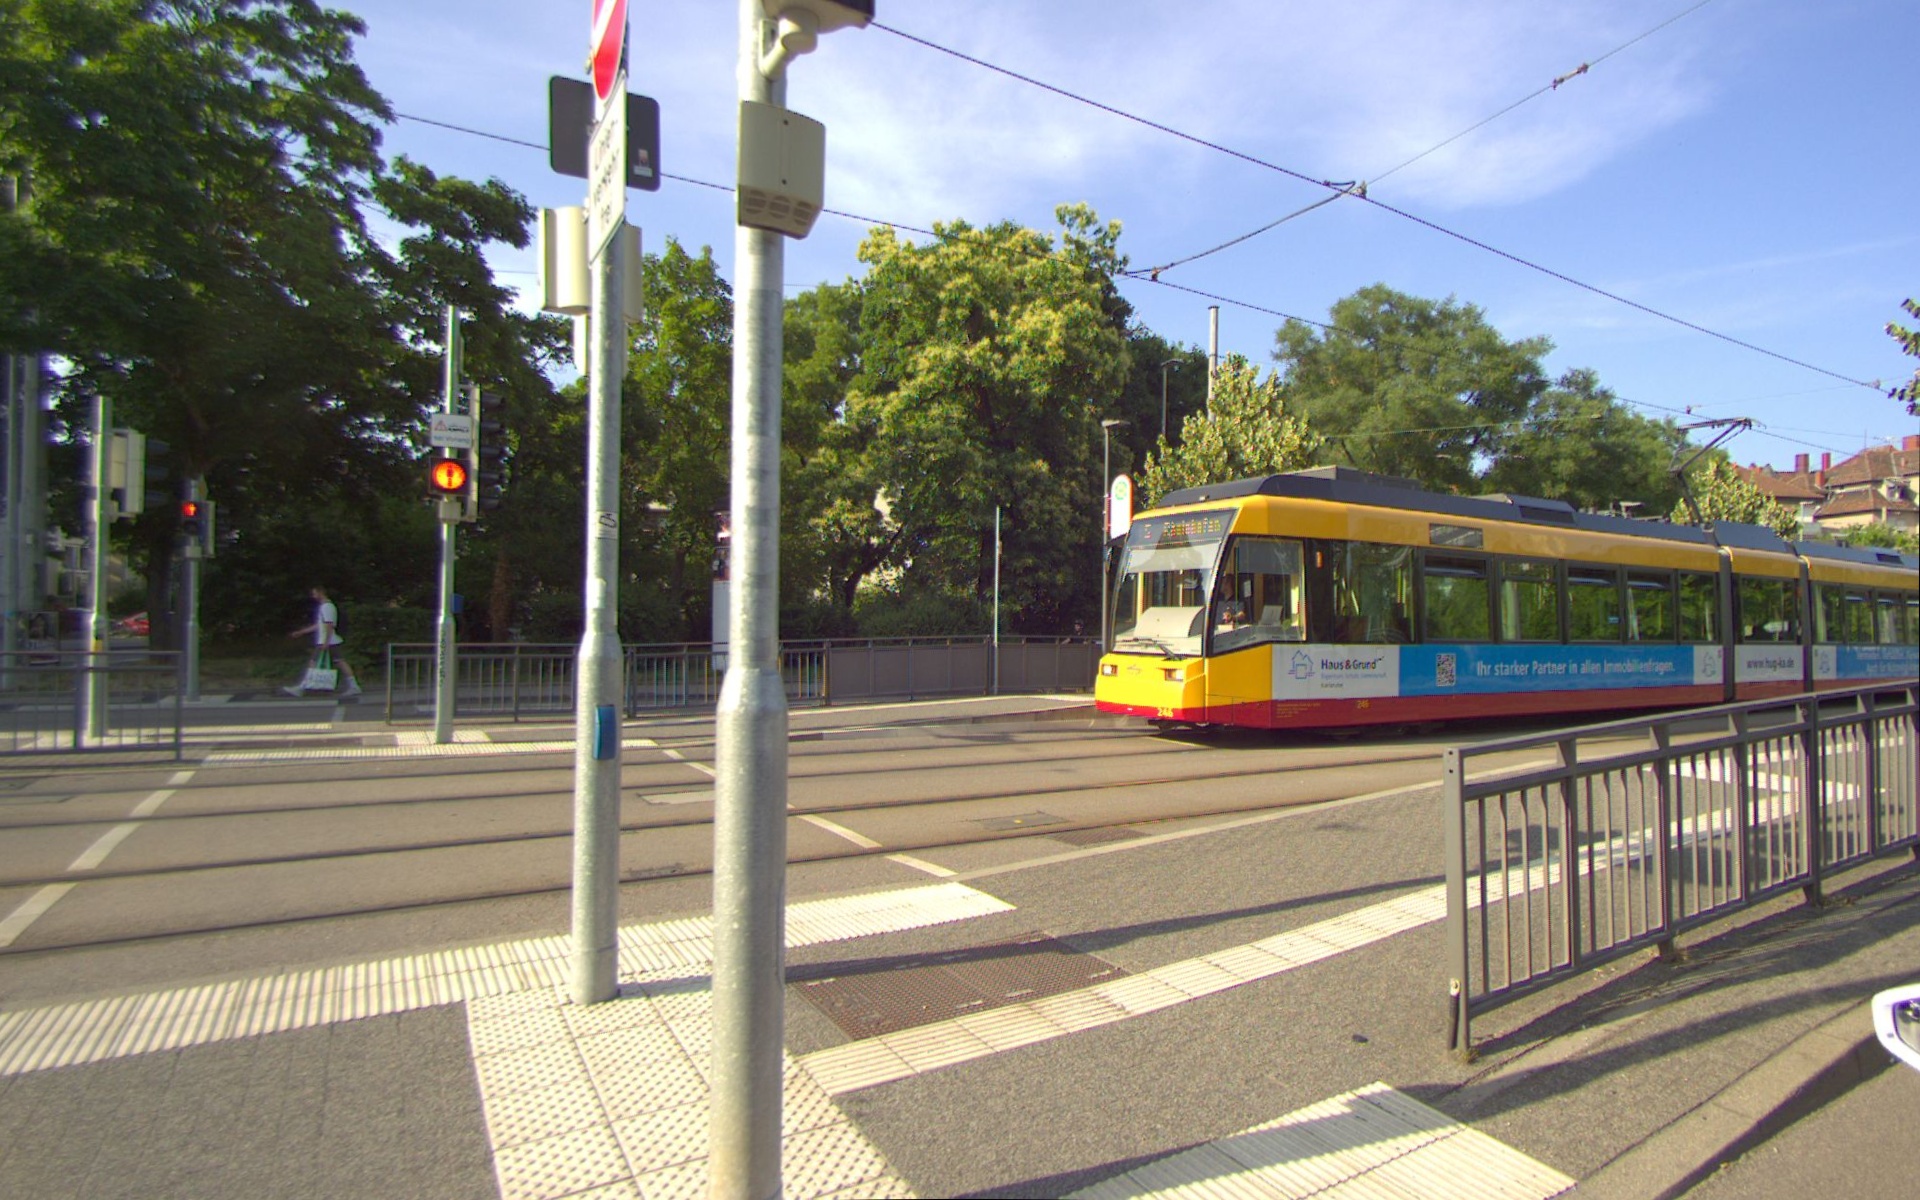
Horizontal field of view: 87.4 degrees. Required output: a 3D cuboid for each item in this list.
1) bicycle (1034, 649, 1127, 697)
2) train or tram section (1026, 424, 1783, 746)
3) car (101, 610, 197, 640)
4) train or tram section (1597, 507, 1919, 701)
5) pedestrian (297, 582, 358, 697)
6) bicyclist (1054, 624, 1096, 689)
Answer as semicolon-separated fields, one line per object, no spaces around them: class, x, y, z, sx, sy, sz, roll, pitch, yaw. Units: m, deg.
bicycle;2.810;1.664;23.239;2.222;1.032;0.540;1;0;-28
train or tram section;7.907;-0.053;15.977;14.360;3.526;3.147;1;0;-30
car;-48.137;1.496;59.685;3.930;1.666;1.996;1;0;-12
train or tram section;20.263;0.189;23.151;14.300;3.526;3.147;1;0;-30
pedestrian;-10.998;0.669;17.455;0.703;1.935;0.993;1;0;-43
bicyclist;2.641;1.285;23.078;0.708;1.432;0.648;1;0;-28
